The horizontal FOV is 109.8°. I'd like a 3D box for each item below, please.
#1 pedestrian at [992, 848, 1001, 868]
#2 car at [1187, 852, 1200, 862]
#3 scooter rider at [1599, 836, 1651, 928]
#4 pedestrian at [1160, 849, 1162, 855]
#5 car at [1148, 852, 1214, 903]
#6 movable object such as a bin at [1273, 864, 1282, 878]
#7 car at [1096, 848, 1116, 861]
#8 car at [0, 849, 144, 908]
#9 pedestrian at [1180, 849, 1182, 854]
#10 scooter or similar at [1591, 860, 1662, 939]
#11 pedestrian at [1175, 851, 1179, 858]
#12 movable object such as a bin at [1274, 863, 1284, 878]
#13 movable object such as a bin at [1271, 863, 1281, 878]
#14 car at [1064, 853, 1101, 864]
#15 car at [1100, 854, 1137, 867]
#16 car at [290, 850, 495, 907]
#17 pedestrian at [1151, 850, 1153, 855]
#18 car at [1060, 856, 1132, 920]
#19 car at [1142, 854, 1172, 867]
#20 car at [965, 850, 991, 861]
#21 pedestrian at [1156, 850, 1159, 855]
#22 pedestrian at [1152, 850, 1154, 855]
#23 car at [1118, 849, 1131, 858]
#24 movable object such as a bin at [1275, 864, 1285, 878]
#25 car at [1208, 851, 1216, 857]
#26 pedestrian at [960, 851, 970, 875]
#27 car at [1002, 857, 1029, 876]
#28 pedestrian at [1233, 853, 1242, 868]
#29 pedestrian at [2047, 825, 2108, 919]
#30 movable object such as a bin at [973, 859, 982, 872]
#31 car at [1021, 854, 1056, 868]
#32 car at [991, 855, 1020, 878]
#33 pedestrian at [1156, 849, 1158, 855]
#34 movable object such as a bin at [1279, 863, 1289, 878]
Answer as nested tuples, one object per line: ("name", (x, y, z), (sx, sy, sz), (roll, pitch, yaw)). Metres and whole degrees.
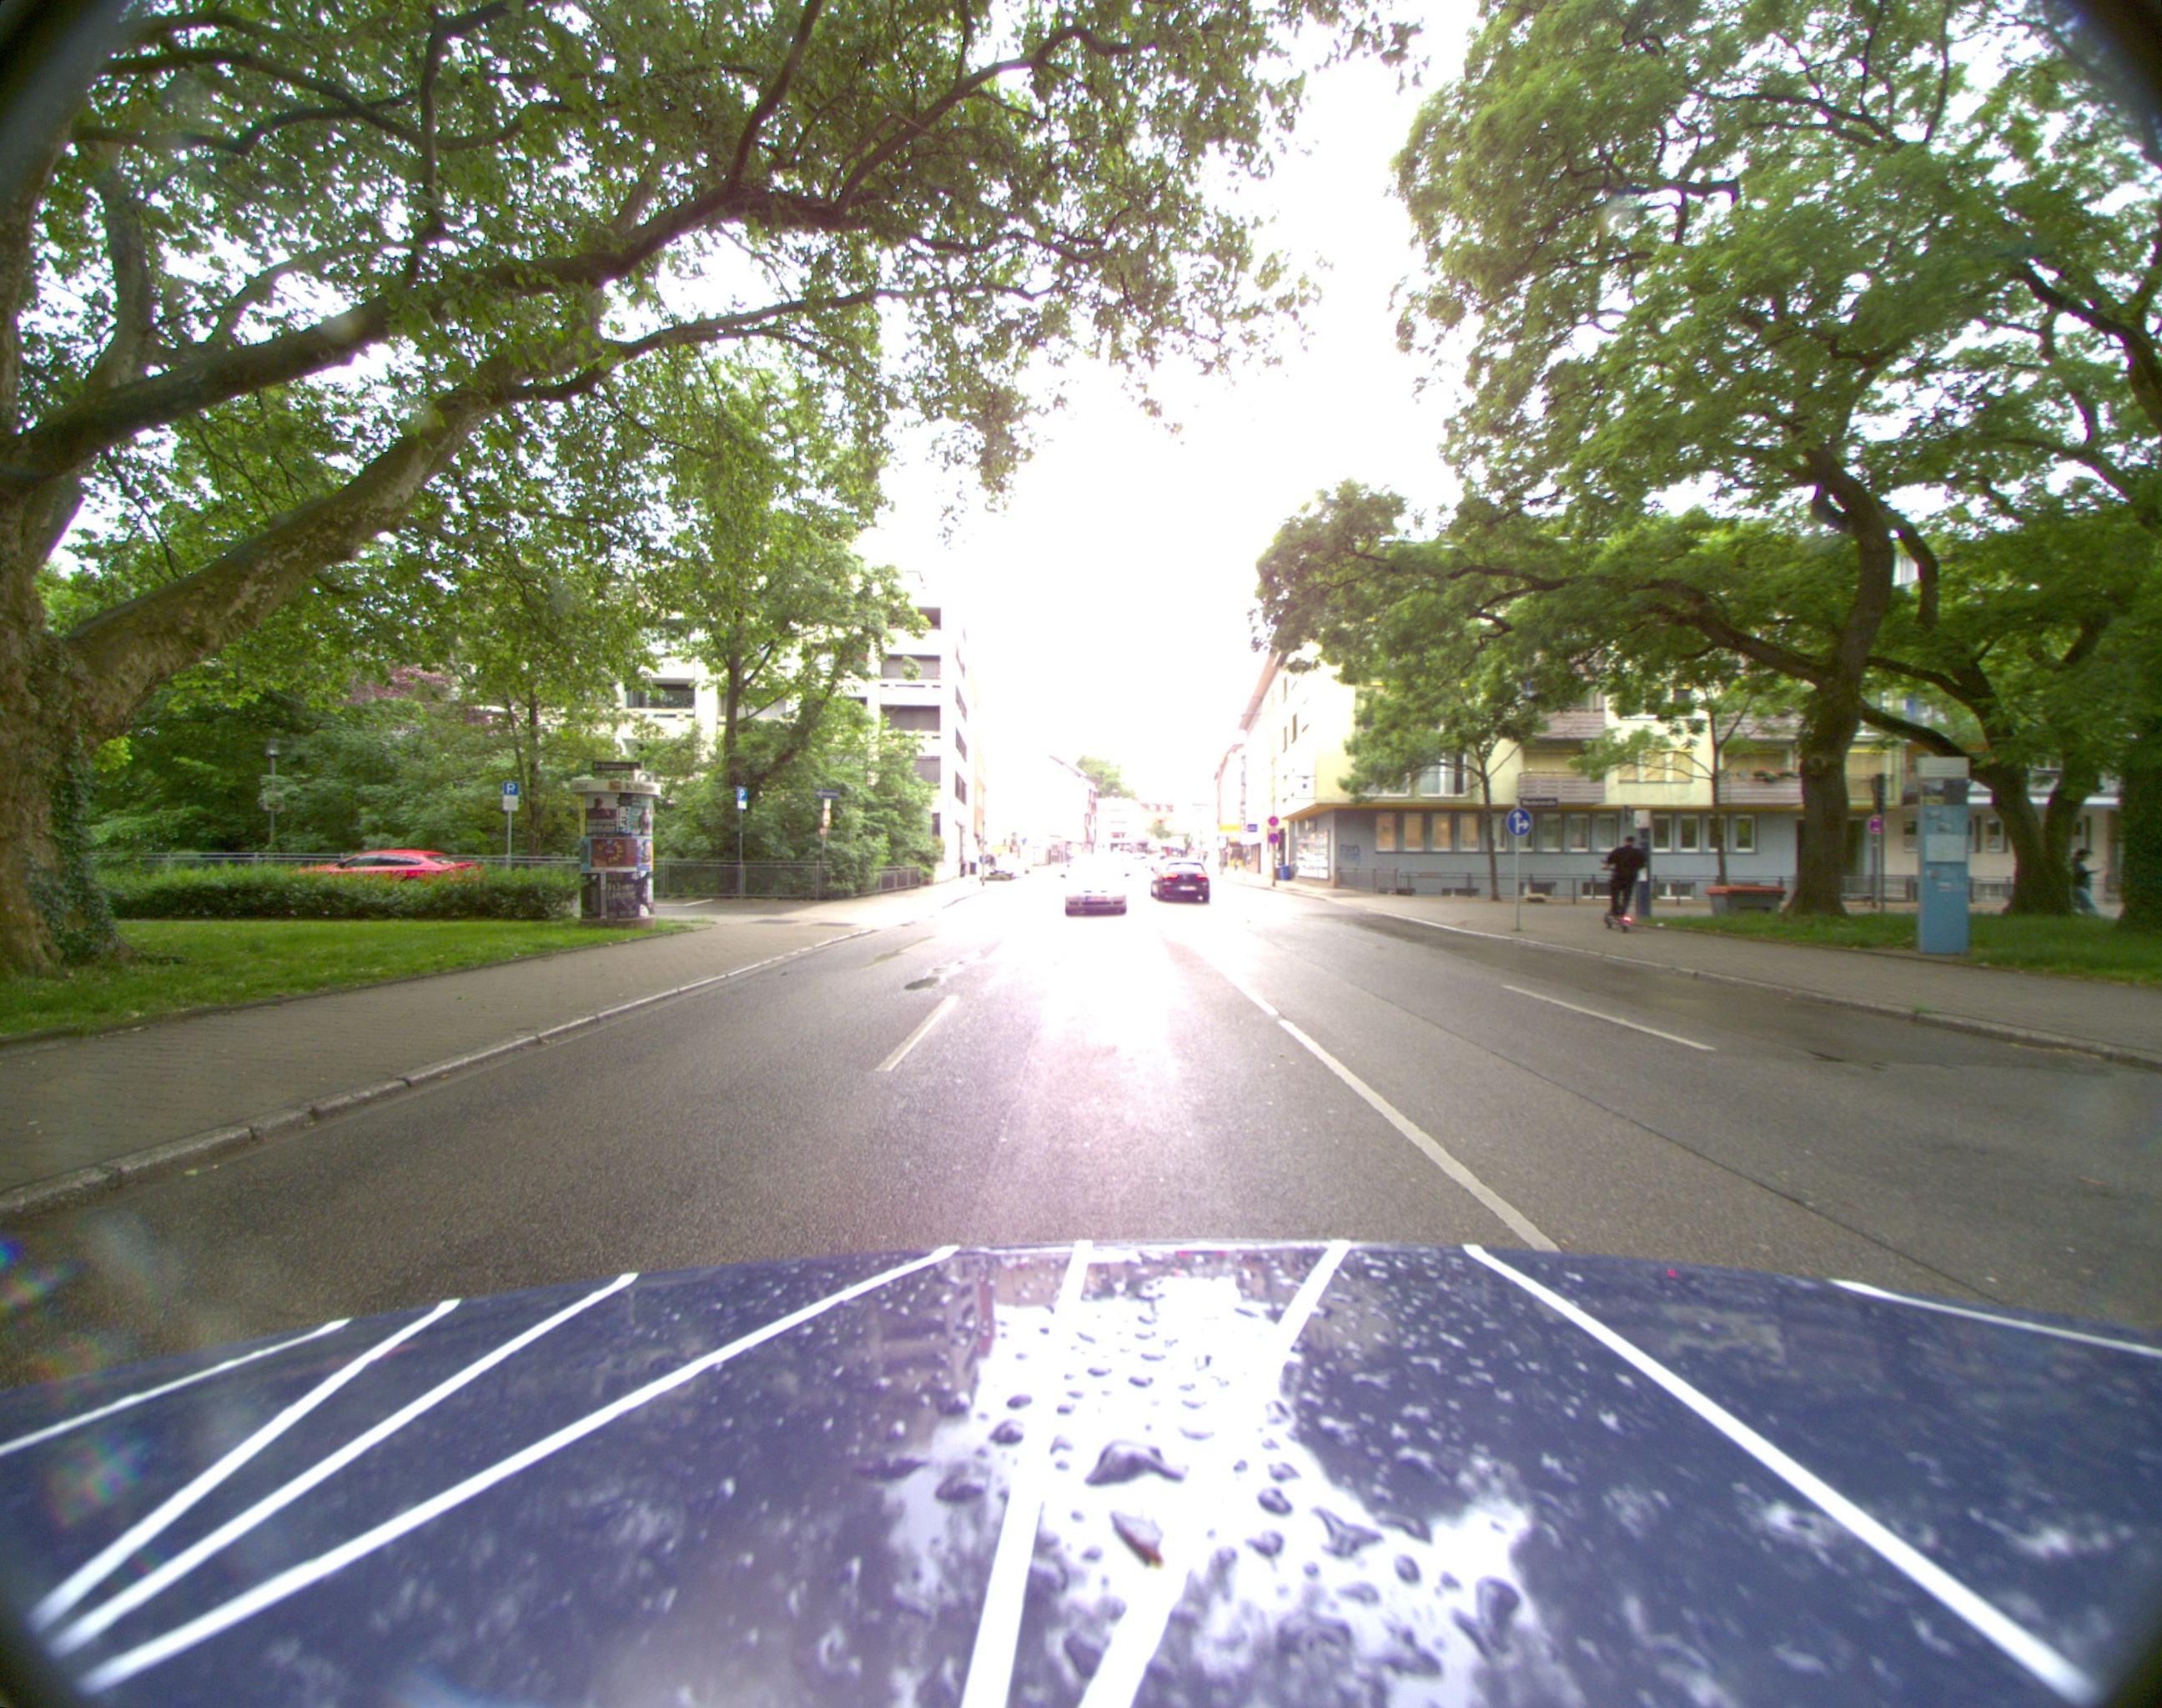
("pedestrian", (-9.277, 0.461, 83.165), (0.806, 2.140, 0.737), (0, 1, -23))
("car", (17.968, 0.524, 121.377), (1.834, 1.612, 4.003), (0, 0, 10))
("scooter rider", (10.743, 0.530, 15.019), (0.733, 1.756, 0.646), (1, 2, 28))
("pedestrian", (18.833, -0.437, 178.452), (0.379, 1.283, 0.401), (1, 1, 39))
("car", (3.404, 0.754, 26.467), (1.850, 1.616, 4.138), (1, 0, 2))
("movable object such as a bin", (12.930, 1.123, 49.888), (0.465, 0.922, 0.428), (-4, 0, 8))
("car", (3.741, 0.107, 112.863), (2.015, 1.754, 4.767), (1, 0, 12))
("car", (-29.534, 0.670, 21.403), (3.932, 1.561, 1.735), (1, 0, -4))
("pedestrian", (23.064, -0.590, 175.457), (0.399, 1.283, 0.380), (0, 1, 10))
("scooter or similar", (10.708, 0.868, 14.969), (0.815, 1.437, 1.400), (-3, 0, 25))
("pedestrian", (22.294, 0.077, 176.236), (0.644, 1.521, 0.644), (-3, 1, -7))
("movable object such as a bin", (12.859, 1.089, 49.298), (0.529, 0.922, 0.426), (-4, 0, 8))
("movable object such as a bin", (13.012, 1.092, 50.632), (0.517, 0.994, 0.524), (-4, 0, 8))
("car", (0.200, 0.569, 94.194), (4.467, 1.377, 1.474), (0, 0, -9))
("car", (4.733, 0.765, 95.900), (4.166, 1.576, 1.797), (1, 0, -24))
("car", (-19.555, 0.675, 21.752), (3.999, 1.473, 1.875), (1, 1, -5))
("pedestrian", (16.791, -0.366, 180.234), (0.379, 1.283, 0.401), (1, 1, 39))
("car", (0.413, 0.855, 21.082), (1.756, 1.559, 4.000), (-2, 0, 1))
("car", (10.189, 0.821, 101.230), (1.753, 1.559, 4.701), (-2, 0, 38))
("car", (-16.439, 0.210, 121.149), (3.783, 1.701, 1.842), (0, 0, 20))
("pedestrian", (17.974, -0.382, 178.603), (0.379, 1.283, 0.401), (1, 1, 40))
("pedestrian", (17.438, -0.434, 184.609), (0.379, 1.283, 0.401), (0, 1, 38))
("car", (8.709, -0.027, 150.371), (2.043, 1.754, 4.574), (1, 0, 9))
("movable object such as a bin", (12.773, 1.092, 48.801), (0.529, 0.890, 0.435), (-4, 0, 8))
("car", (33.350, -0.019, 193.444), (1.591, 1.518, 3.491), (0, 0, 14))
("pedestrian", (-8.022, 0.638, 52.650), (0.599, 1.650, 0.691), (3, 0, -7))
("car", (-5.178, 0.929, 60.475), (1.835, 1.412, 4.569), (1, 0, -1))
("pedestrian", (17.028, 0.732, 82.655), (0.785, 1.578, 0.674), (-2, 0, 21))
("pedestrian", (21.821, 0.387, 16.640), (0.754, 2.002, 0.780), (0, 1, -37))
("movable object such as a bin", (-8.565, 0.936, 62.820), (0.681, 1.097, 0.514), (0, 1, -1))
("car", (-5.175, 0.833, 93.516), (4.157, 1.576, 1.801), (1, 0, -1))
("car", (-5.317, 0.869, 53.665), (1.706, 1.549, 3.804), (1, 0, -1))
("pedestrian", (18.345, -0.458, 183.176), (0.379, 1.283, 0.401), (0, 1, 38))
("movable object such as a bin", (12.887, 1.038, 48.269), (0.529, 0.955, 0.435), (-4, 0, 8))
